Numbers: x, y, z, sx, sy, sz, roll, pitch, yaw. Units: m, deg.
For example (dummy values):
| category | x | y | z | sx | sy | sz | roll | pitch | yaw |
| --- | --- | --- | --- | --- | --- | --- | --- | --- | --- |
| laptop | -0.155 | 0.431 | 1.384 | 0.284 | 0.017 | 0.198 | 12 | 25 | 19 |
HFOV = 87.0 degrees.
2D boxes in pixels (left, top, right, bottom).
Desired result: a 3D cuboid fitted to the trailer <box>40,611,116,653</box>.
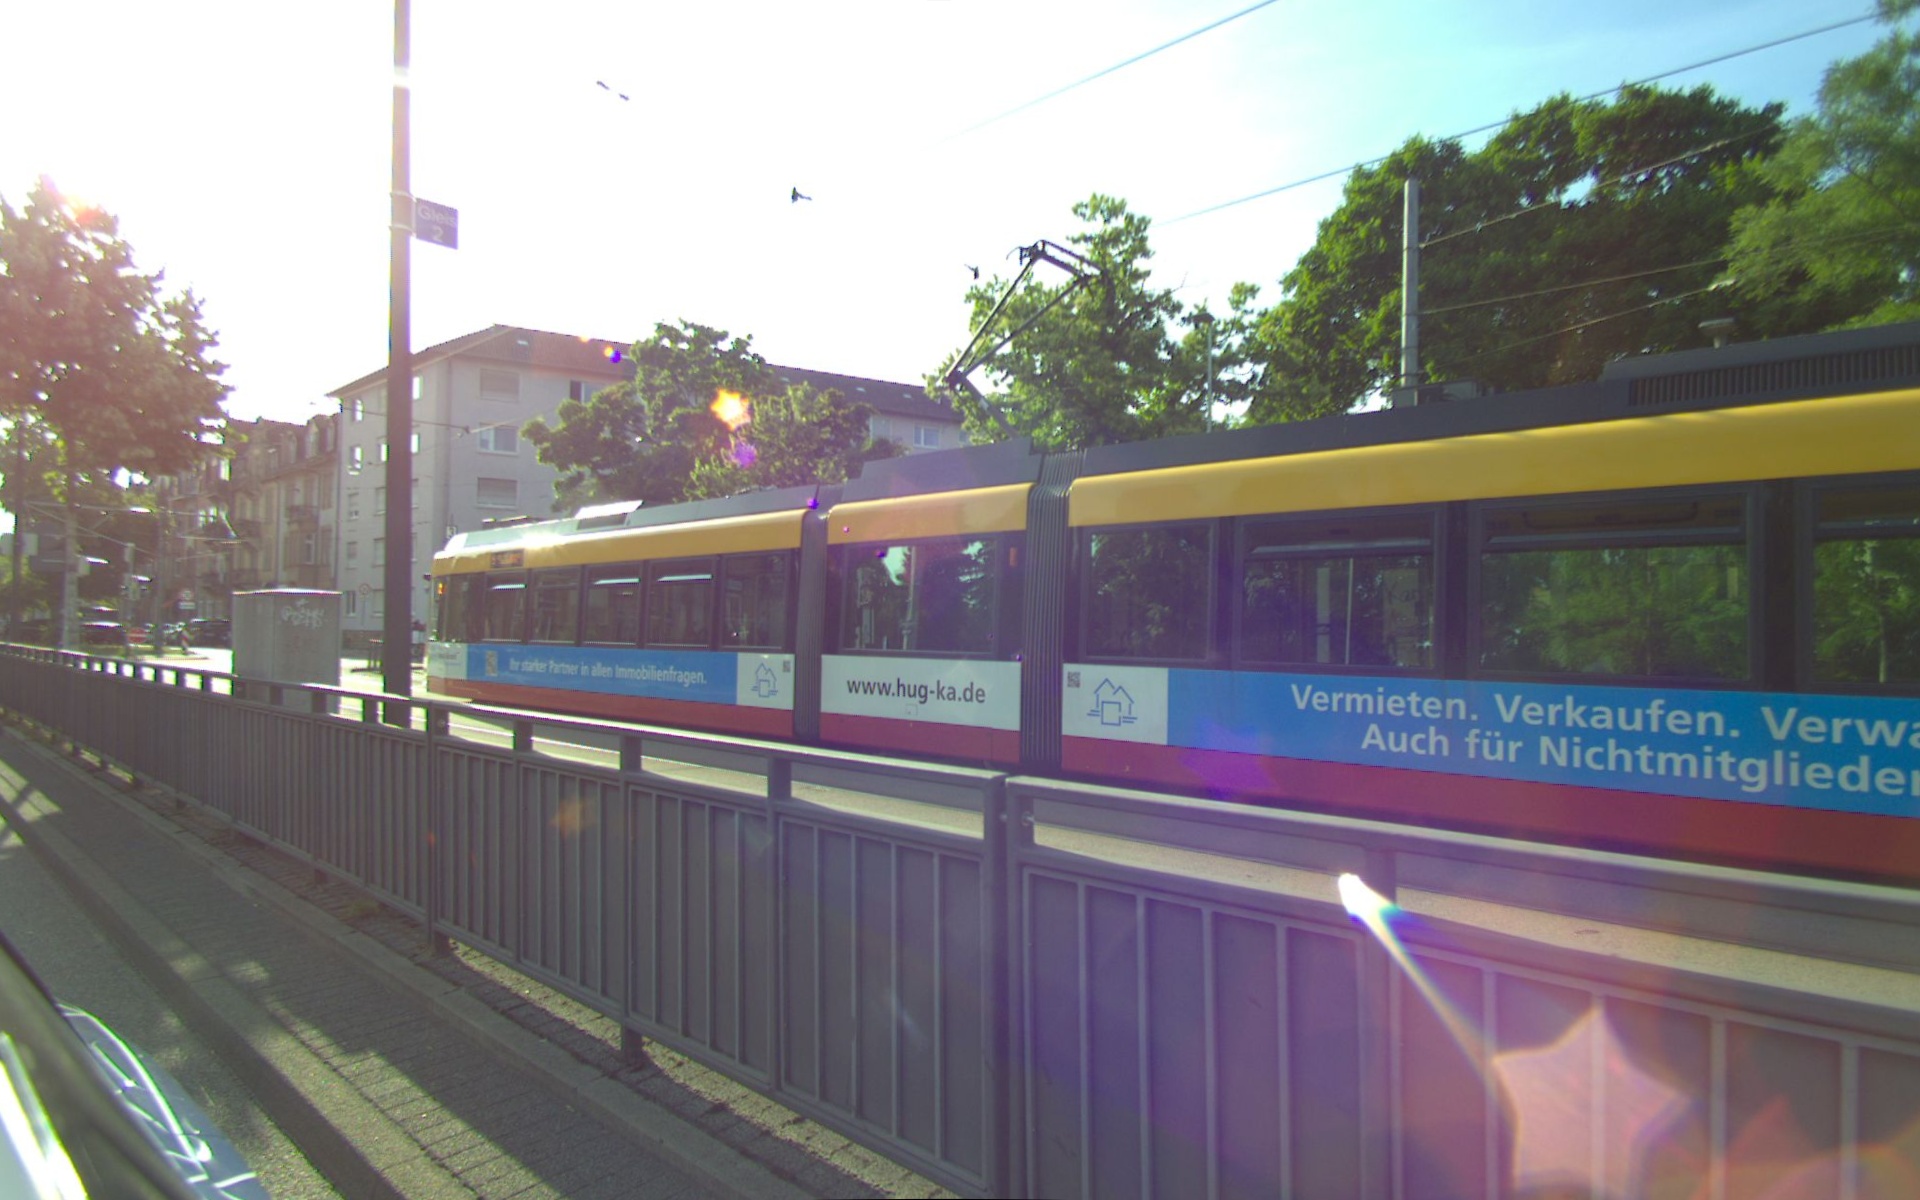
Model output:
| category | x | y | z | sx | sy | sz | roll | pitch | yaw |
| --- | --- | --- | --- | --- | --- | --- | --- | --- | --- |
| trailer | -51.207 | 1.845 | 58.788 | 2.817 | 2.410 | 1.728 | 0 | -2 | -17 |

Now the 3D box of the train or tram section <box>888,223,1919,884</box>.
| category | x | y | z | sx | sy | sz | roll | pitch | yaw |
| --- | --- | --- | --- | --- | --- | --- | --- | --- | --- |
| train or tram section | 5.718 | -0.216 | 6.894 | 14.463 | 3.506 | 3.129 | -2 | -2 | 41 |

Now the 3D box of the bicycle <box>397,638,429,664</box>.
| category | x | y | z | sx | sy | sz | roll | pitch | yaw |
| --- | --- | --- | --- | --- | --- | --- | --- | --- | --- |
| bicycle | -22.974 | 2.122 | 42.498 | 0.535 | 1.026 | 2.251 | 1 | -2 | -45 |

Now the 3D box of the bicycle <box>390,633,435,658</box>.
| category | x | y | z | sx | sy | sz | roll | pitch | yaw |
| --- | --- | --- | --- | --- | --- | --- | --- | --- | --- |
| bicycle | -27.299 | 2.248 | 50.497 | 1.946 | 1.212 | 0.737 | 1 | -2 | -27 |

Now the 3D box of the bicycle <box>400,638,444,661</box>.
| category | x | y | z | sx | sy | sz | roll | pitch | yaw |
| --- | --- | --- | --- | --- | --- | --- | --- | --- | --- |
| bicycle | -26.517 | 2.440 | 49.923 | 1.883 | 1.119 | 0.737 | 2 | -3 | -27 |

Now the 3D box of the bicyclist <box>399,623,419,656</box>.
| category | x | y | z | sx | sy | sz | roll | pitch | yaw |
| --- | --- | --- | --- | --- | --- | --- | --- | --- | --- |
| bicyclist | -27.444 | 1.966 | 50.416 | 0.839 | 1.655 | 0.816 | 1 | -2 | -28 |

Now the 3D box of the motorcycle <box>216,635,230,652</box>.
| category | x | y | z | sx | sy | sz | roll | pitch | yaw |
| --- | --- | --- | --- | --- | --- | --- | --- | --- | --- |
| motorcycle | -47.537 | 2.782 | 65.278 | 0.627 | 1.088 | 1.737 | 1 | -2 | -38 |

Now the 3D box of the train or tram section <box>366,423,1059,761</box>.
| category | x | y | z | sx | sy | sz | roll | pitch | yaw |
| --- | --- | --- | --- | --- | --- | --- | --- | --- | --- |
| train or tram section | -5.231 | 0.090 | 16.429 | 14.524 | 3.506 | 3.129 | -2 | -2 | 41 |

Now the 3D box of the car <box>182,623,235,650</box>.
| category | x | y | z | sx | sy | sz | roll | pitch | yaw |
| --- | --- | --- | --- | --- | --- | --- | --- | --- | --- |
| car | -50.504 | 2.457 | 67.982 | 4.719 | 1.763 | 2.141 | -2 | -2 | 44 |

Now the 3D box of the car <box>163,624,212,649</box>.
| category | x | y | z | sx | sy | sz | roll | pitch | yaw |
| --- | --- | --- | --- | --- | --- | --- | --- | --- | --- |
| car | -55.364 | 2.601 | 72.525 | 4.612 | 1.763 | 2.141 | -2 | -2 | 44 |

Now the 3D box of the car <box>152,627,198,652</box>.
| category | x | y | z | sx | sy | sz | roll | pitch | yaw |
| --- | --- | --- | --- | --- | --- | --- | --- | --- | --- |
| car | -59.084 | 2.944 | 76.153 | 4.612 | 1.763 | 2.141 | -2 | -2 | 44 |

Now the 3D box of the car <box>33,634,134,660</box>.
| category | x | y | z | sx | sy | sz | roll | pitch | yaw |
| --- | --- | --- | --- | --- | --- | --- | --- | --- | --- |
| car | -48.783 | 2.603 | 56.404 | 3.887 | 1.370 | 1.677 | 1 | -2 | -13 |

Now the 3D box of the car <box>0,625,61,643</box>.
| category | x | y | z | sx | sy | sz | roll | pitch | yaw |
| --- | --- | --- | --- | --- | --- | --- | --- | --- | --- |
| car | -74.632 | 2.687 | 80.473 | 4.205 | 1.433 | 2.175 | 0 | -2 | -7 |

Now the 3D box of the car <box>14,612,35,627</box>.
| category | x | y | z | sx | sy | sz | roll | pitch | yaw |
| --- | --- | --- | --- | --- | --- | --- | --- | --- | --- |
| car | -130.813 | 2.710 | 141.444 | 1.971 | 2.029 | 4.002 | 1 | -2 | -45 |

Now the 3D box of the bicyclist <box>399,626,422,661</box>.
| category | x | y | z | sx | sy | sz | roll | pitch | yaw |
| --- | --- | --- | --- | --- | --- | --- | --- | --- | --- |
| bicyclist | -23.121 | 1.817 | 42.563 | 0.717 | 1.424 | 0.643 | -2 | -2 | 44 |

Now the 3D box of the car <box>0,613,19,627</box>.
| category | x | y | z | sx | sy | sz | roll | pitch | yaw |
| --- | --- | --- | --- | --- | --- | --- | --- | --- | --- |
| car | -140.340 | 2.994 | 149.244 | 3.998 | 2.029 | 1.973 | -2 | -2 | 41 |

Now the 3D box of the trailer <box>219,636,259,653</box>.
| category | x | y | z | sx | sy | sz | roll | pitch | yaw |
| --- | --- | --- | --- | --- | --- | --- | --- | --- | --- |
| trailer | -45.467 | 2.796 | 63.773 | 2.878 | 0.903 | 1.425 | -2 | 3 | 42 |

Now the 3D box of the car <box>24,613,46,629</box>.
| category | x | y | z | sx | sy | sz | roll | pitch | yaw |
| --- | --- | --- | --- | --- | --- | --- | --- | --- | --- |
| car | -122.423 | 2.764 | 133.919 | 1.971 | 2.029 | 4.002 | 1 | -2 | -45 |

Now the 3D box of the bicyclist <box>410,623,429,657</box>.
| category | x | y | z | sx | sy | sz | roll | pitch | yaw |
| --- | --- | --- | --- | --- | --- | --- | --- | --- | --- |
| bicyclist | -26.626 | 1.953 | 49.835 | 0.760 | 1.655 | 0.797 | 2 | -3 | -28 |
